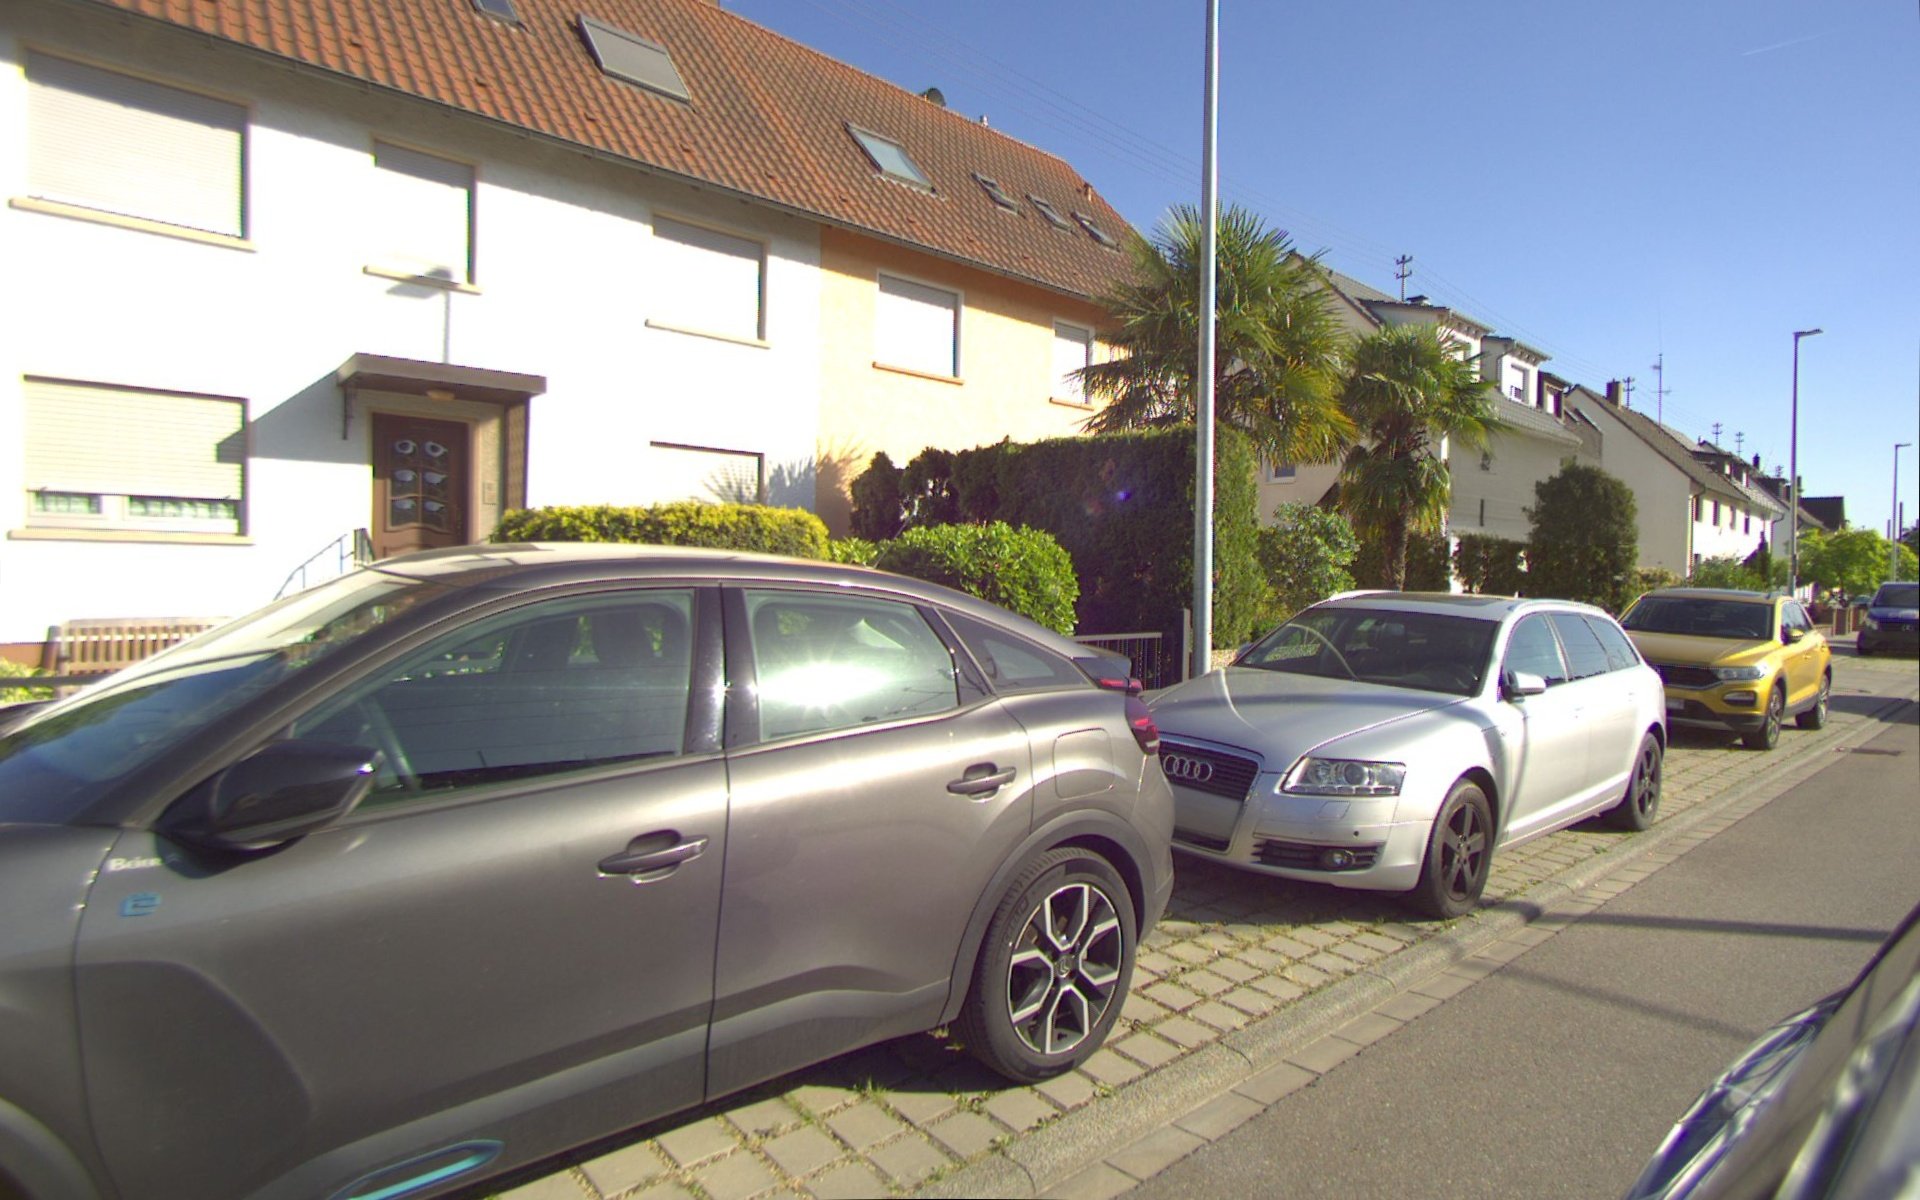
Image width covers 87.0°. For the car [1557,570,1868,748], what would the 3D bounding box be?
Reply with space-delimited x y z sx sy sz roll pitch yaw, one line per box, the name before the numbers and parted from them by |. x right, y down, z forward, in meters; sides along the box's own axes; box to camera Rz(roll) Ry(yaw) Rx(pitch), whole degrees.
car | 8.666 0.490 11.472 4.841 1.578 1.809 -1 3 -41

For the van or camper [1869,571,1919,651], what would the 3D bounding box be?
van or camper | 24.895 0.242 25.829 5.488 1.869 1.952 -1 3 -43

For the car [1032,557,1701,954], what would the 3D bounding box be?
car | 2.685 0.581 5.979 4.616 1.465 1.751 1 2 -42

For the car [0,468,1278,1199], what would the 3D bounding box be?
car | -1.243 0.534 2.756 4.643 1.517 1.781 0 2 -40
